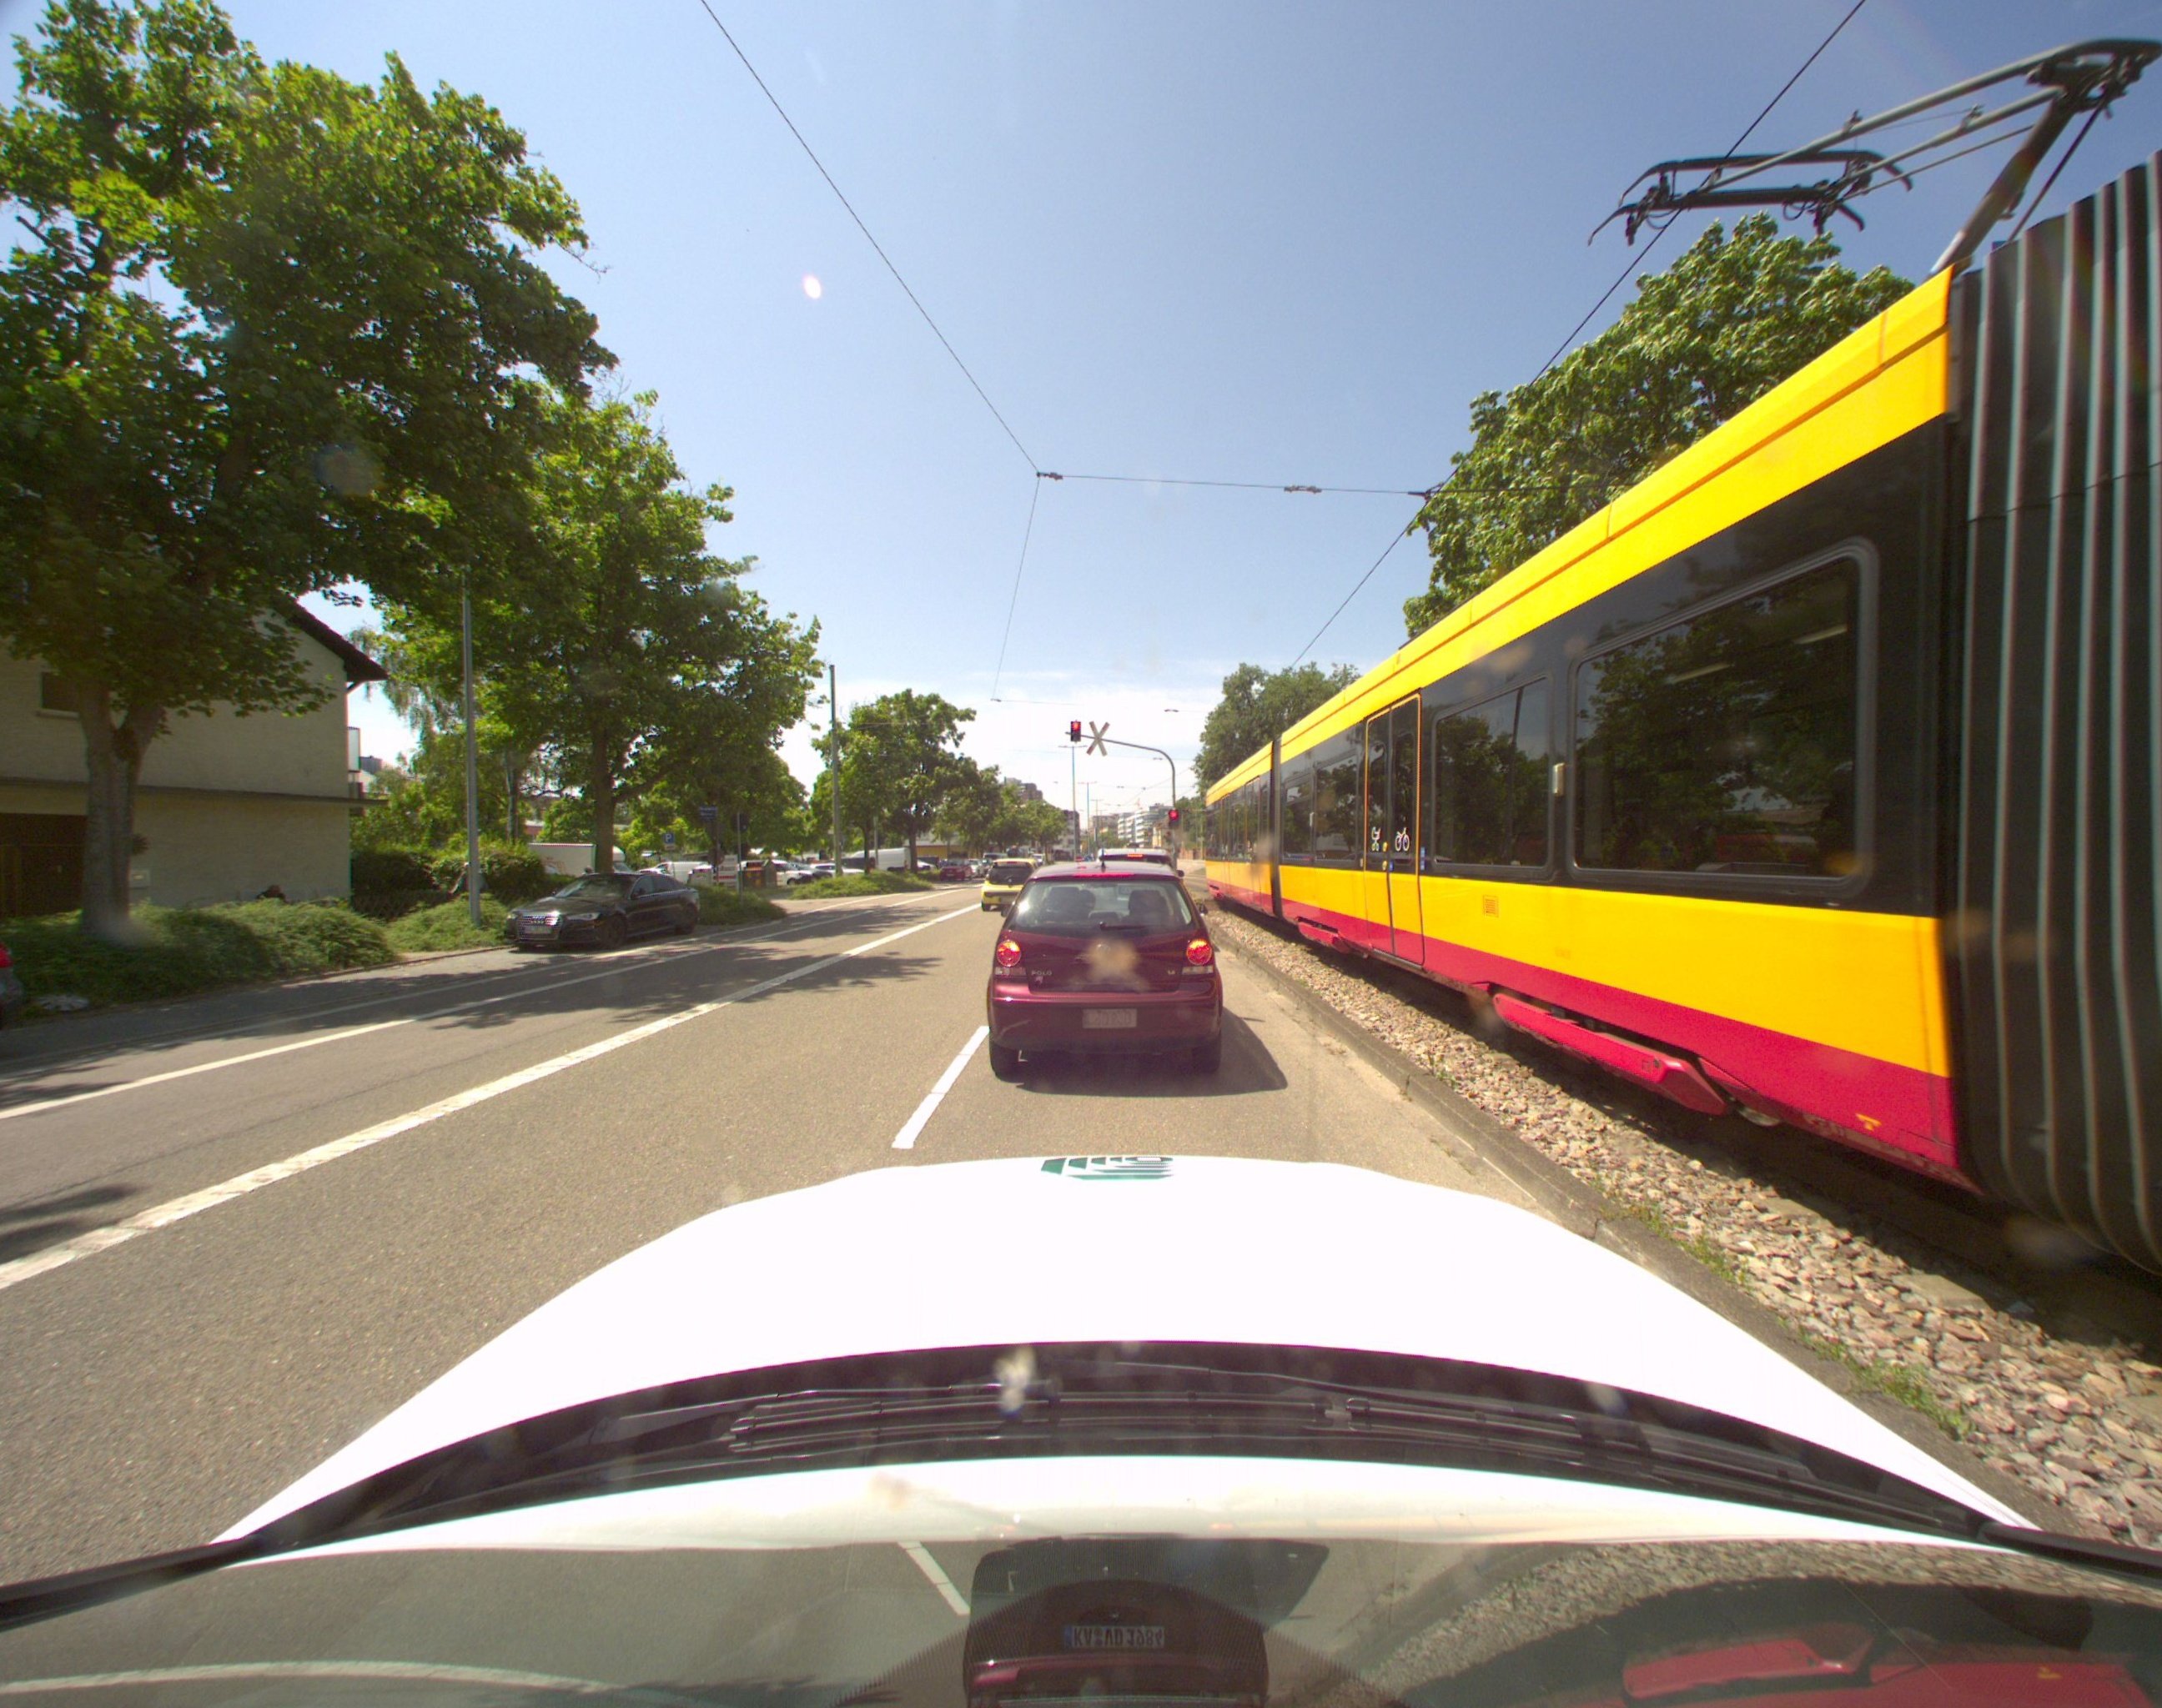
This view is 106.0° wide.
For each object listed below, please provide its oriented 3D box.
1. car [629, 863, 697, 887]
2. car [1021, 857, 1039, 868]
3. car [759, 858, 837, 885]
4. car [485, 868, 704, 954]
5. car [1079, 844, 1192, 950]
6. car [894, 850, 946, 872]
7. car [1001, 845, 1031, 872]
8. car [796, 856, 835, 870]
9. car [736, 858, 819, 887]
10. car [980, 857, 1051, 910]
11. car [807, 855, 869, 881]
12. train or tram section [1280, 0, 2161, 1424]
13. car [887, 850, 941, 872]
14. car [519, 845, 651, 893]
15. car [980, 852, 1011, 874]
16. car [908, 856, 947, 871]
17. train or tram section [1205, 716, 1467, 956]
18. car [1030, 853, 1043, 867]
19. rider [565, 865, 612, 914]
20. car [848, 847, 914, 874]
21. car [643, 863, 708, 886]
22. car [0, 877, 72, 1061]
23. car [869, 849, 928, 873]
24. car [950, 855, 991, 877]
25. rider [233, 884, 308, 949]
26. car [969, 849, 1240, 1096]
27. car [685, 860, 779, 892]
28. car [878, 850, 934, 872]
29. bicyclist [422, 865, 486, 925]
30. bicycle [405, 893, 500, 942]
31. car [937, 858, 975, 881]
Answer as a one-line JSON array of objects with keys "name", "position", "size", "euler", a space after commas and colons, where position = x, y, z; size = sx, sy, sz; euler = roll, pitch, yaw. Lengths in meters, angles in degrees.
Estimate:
[{"name": "car", "position": [-30.426, 1.530, 59.347], "size": [3.982, 1.653, 1.812], "euler": [1, -1, -7]}, {"name": "car", "position": [-6.349, 1.069, 101.756], "size": [1.606, 1.441, 4.006], "euler": [0, -1, 5]}, {"name": "car", "position": [-18.423, 1.110, 53.069], "size": [4.319, 1.585, 1.917], "euler": [-2, 0, 8]}, {"name": "car", "position": [-9.871, 1.072, 17.018], "size": [1.812, 1.476, 4.450], "euler": [0, 0, 1]}, {"name": "car", "position": [0.898, 0.665, 14.752], "size": [1.770, 1.647, 4.001], "euler": [0, 0, 1]}, {"name": "car", "position": [-17.339, 0.784, 87.959], "size": [5.076, 2.244, 2.380], "euler": [0, -1, 3]}, {"name": "car", "position": [-6.708, 0.473, 84.579], "size": [2.352, 2.692, 5.311], "euler": [0, -1, 3]}, {"name": "car", "position": [-31.587, 1.066, 96.931], "size": [4.006, 1.617, 1.816], "euler": [1, -1, 0]}, {"name": "car", "position": [-18.650, 1.123, 50.170], "size": [4.319, 1.585, 1.917], "euler": [-2, 0, 7]}, {"name": "car", "position": [-1.821, 0.797, 23.592], "size": [1.684, 1.411, 3.516], "euler": [0, 0, 1]}, {"name": "car", "position": [-18.190, 1.033, 61.102], "size": [3.973, 1.746, 1.998], "euler": [-2, 0, 0]}, {"name": "train or tram section", "position": [4.235, -0.427, 7.137], "size": [2.730, 3.609, 10.957], "euler": [0, 0, 2]}, {"name": "car", "position": [-17.435, 0.753, 85.344], "size": [5.076, 2.244, 2.380], "euler": [0, -1, 3]}, {"name": "car", "position": [-31.453, 0.946, 51.814], "size": [6.828, 2.965, 2.364], "euler": [1, -1, 0]}, {"name": "car", "position": [-7.460, 0.797, 71.542], "size": [1.774, 1.881, 4.791], "euler": [0, -1, 5]}, {"name": "car", "position": [-17.415, 1.055, 92.347], "size": [4.004, 1.617, 1.818], "euler": [0, -1, 3]}, {"name": "train or tram section", "position": [4.675, -0.294, 17.776], "size": [2.730, 3.609, 10.957], "euler": [0, 0, 2]}, {"name": "car", "position": [-5.893, 0.833, 107.856], "size": [1.771, 1.828, 3.995], "euler": [1, -1, -3]}, {"name": "rider", "position": [-14.305, 1.019, 23.669], "size": [0.805, 1.360, 0.829], "euler": [-2, 0, 5]}, {"name": "car", "position": [-17.513, 0.557, 71.580], "size": [5.076, 2.244, 2.380], "euler": [0, -1, 3]}, {"name": "car", "position": [-30.694, 1.557, 61.764], "size": [3.982, 1.653, 1.812], "euler": [1, -1, -7]}, {"name": "car", "position": [-10.268, 1.001, 5.423], "size": [1.812, 1.564, 4.182], "euler": [0, 0, 1]}, {"name": "car", "position": [-17.838, 0.682, 79.690], "size": [5.076, 2.244, 2.380], "euler": [0, -1, 3]}, {"name": "car", "position": [-8.232, 0.907, 61.313], "size": [1.965, 1.601, 4.566], "euler": [0, -1, 6]}, {"name": "rider", "position": [-17.978, 1.371, 18.078], "size": [0.820, 1.374, 0.814], "euler": [-2, 0, 10]}, {"name": "car", "position": [0.186, 0.733, 7.049], "size": [1.666, 1.521, 4.001], "euler": [0, 0, 1]}, {"name": "car", "position": [-19.361, 1.210, 45.275], "size": [4.330, 1.585, 1.912], "euler": [-2, 0, -1]}, {"name": "car", "position": [-17.743, 0.720, 82.877], "size": [5.076, 2.244, 2.380], "euler": [0, -1, 3]}, {"name": "bicyclist", "position": [-14.783, 0.950, 19.217], "size": [0.805, 1.374, 0.829], "euler": [0, -1, 5]}, {"name": "bicycle", "position": [-14.799, 1.467, 19.253], "size": [0.697, 1.030, 1.831], "euler": [0, -1, 5]}, {"name": "car", "position": [-8.340, 1.034, 54.760], "size": [1.655, 1.497, 4.004], "euler": [0, -1, 4]}]
